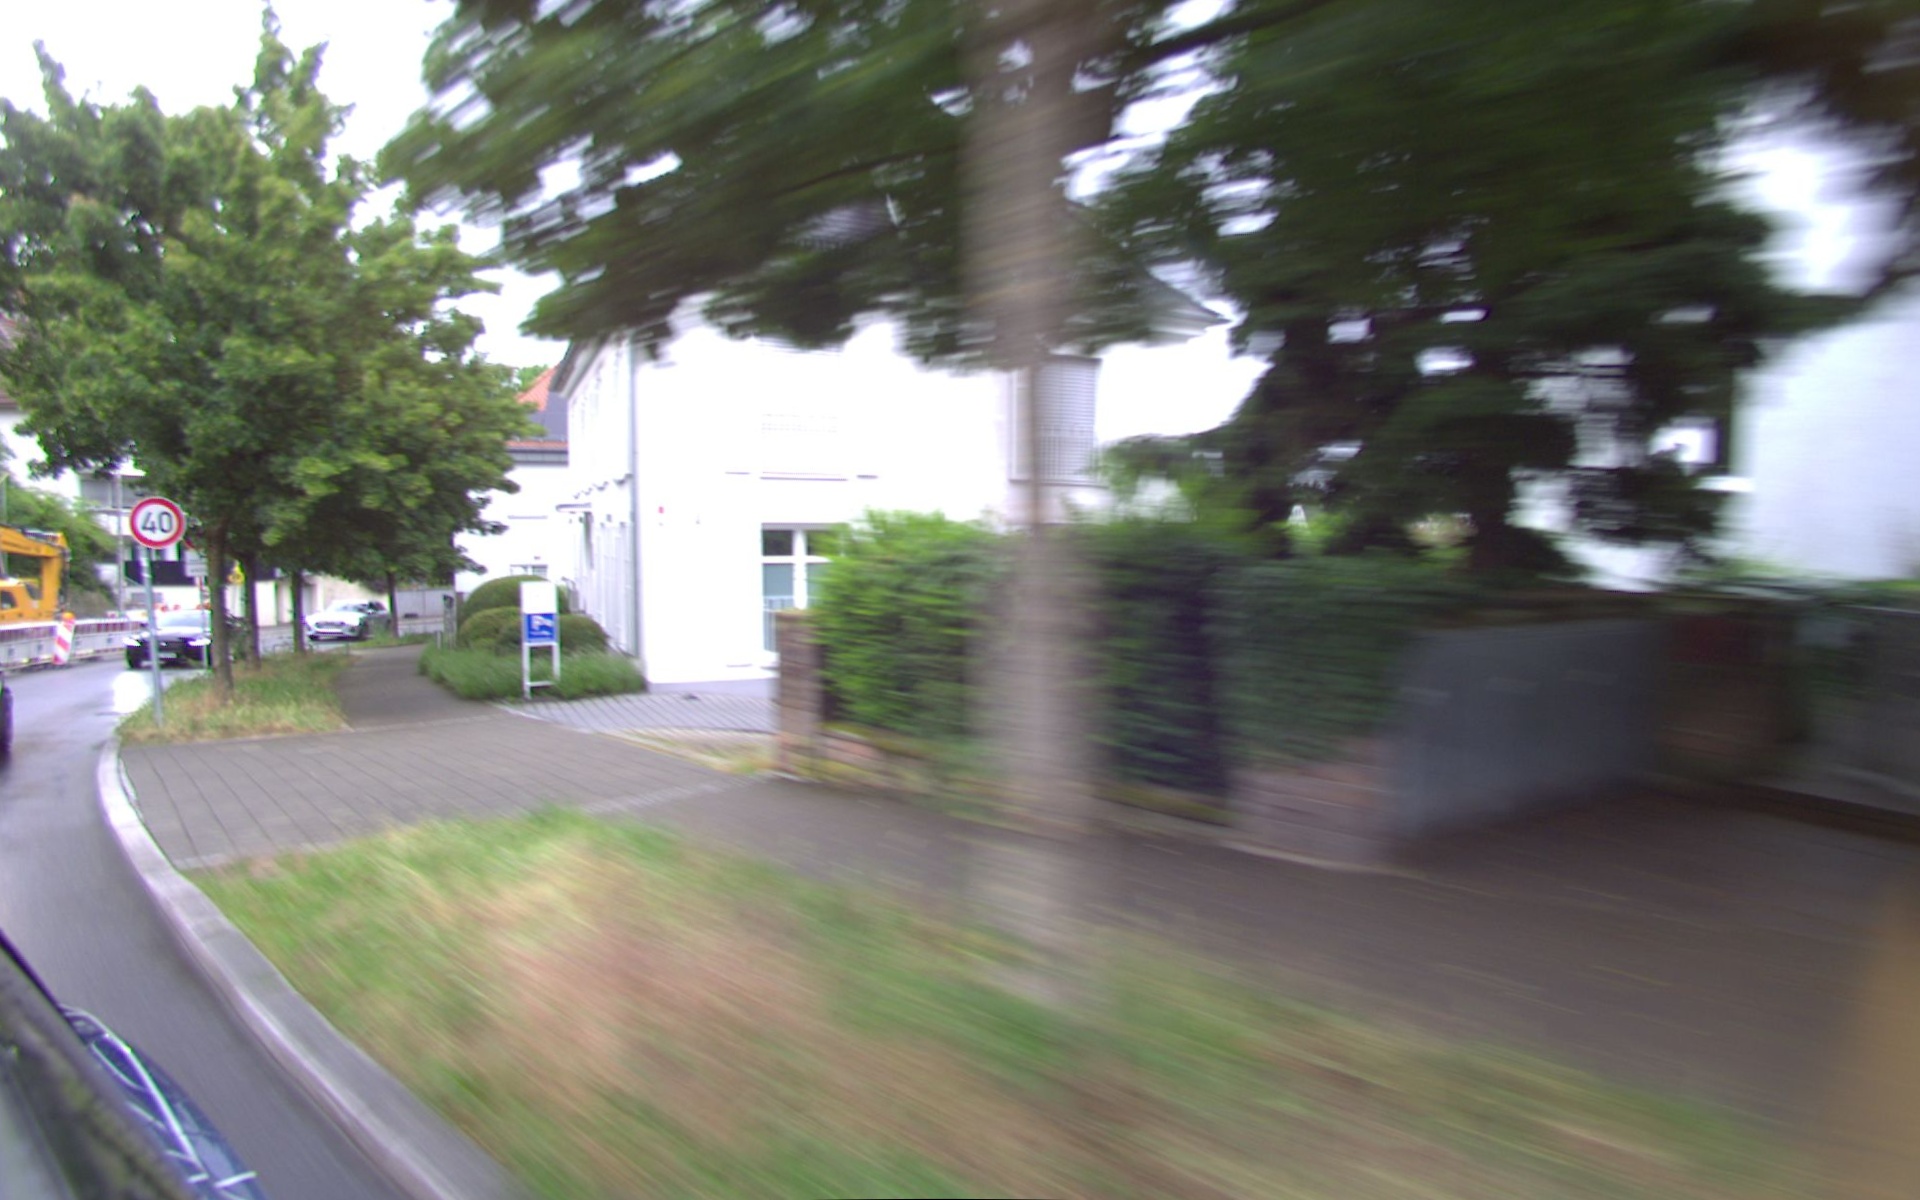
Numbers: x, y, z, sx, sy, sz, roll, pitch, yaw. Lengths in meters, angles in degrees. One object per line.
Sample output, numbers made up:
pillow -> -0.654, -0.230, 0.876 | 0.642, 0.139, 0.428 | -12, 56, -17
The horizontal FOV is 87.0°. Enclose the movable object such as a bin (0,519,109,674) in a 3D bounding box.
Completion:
movable object such as a bin -> -26.247, -0.073, 26.832 | 3.274, 3.868, 7.227 | -1, 1, -20

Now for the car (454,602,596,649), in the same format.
car -> -14.212, 0.806, 33.259 | 4.003, 1.413, 1.849 | -1, 1, -13

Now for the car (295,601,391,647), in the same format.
car -> -25.293, 0.941, 41.672 | 1.968, 1.722, 4.586 | -1, 1, -13

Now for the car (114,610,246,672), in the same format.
car -> -20.322, 1.007, 26.552 | 1.812, 1.413, 4.085 | -1, 1, -24

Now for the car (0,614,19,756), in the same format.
car -> -10.184, 0.919, 9.363 | 1.648, 1.477, 4.726 | -1, 1, -37
